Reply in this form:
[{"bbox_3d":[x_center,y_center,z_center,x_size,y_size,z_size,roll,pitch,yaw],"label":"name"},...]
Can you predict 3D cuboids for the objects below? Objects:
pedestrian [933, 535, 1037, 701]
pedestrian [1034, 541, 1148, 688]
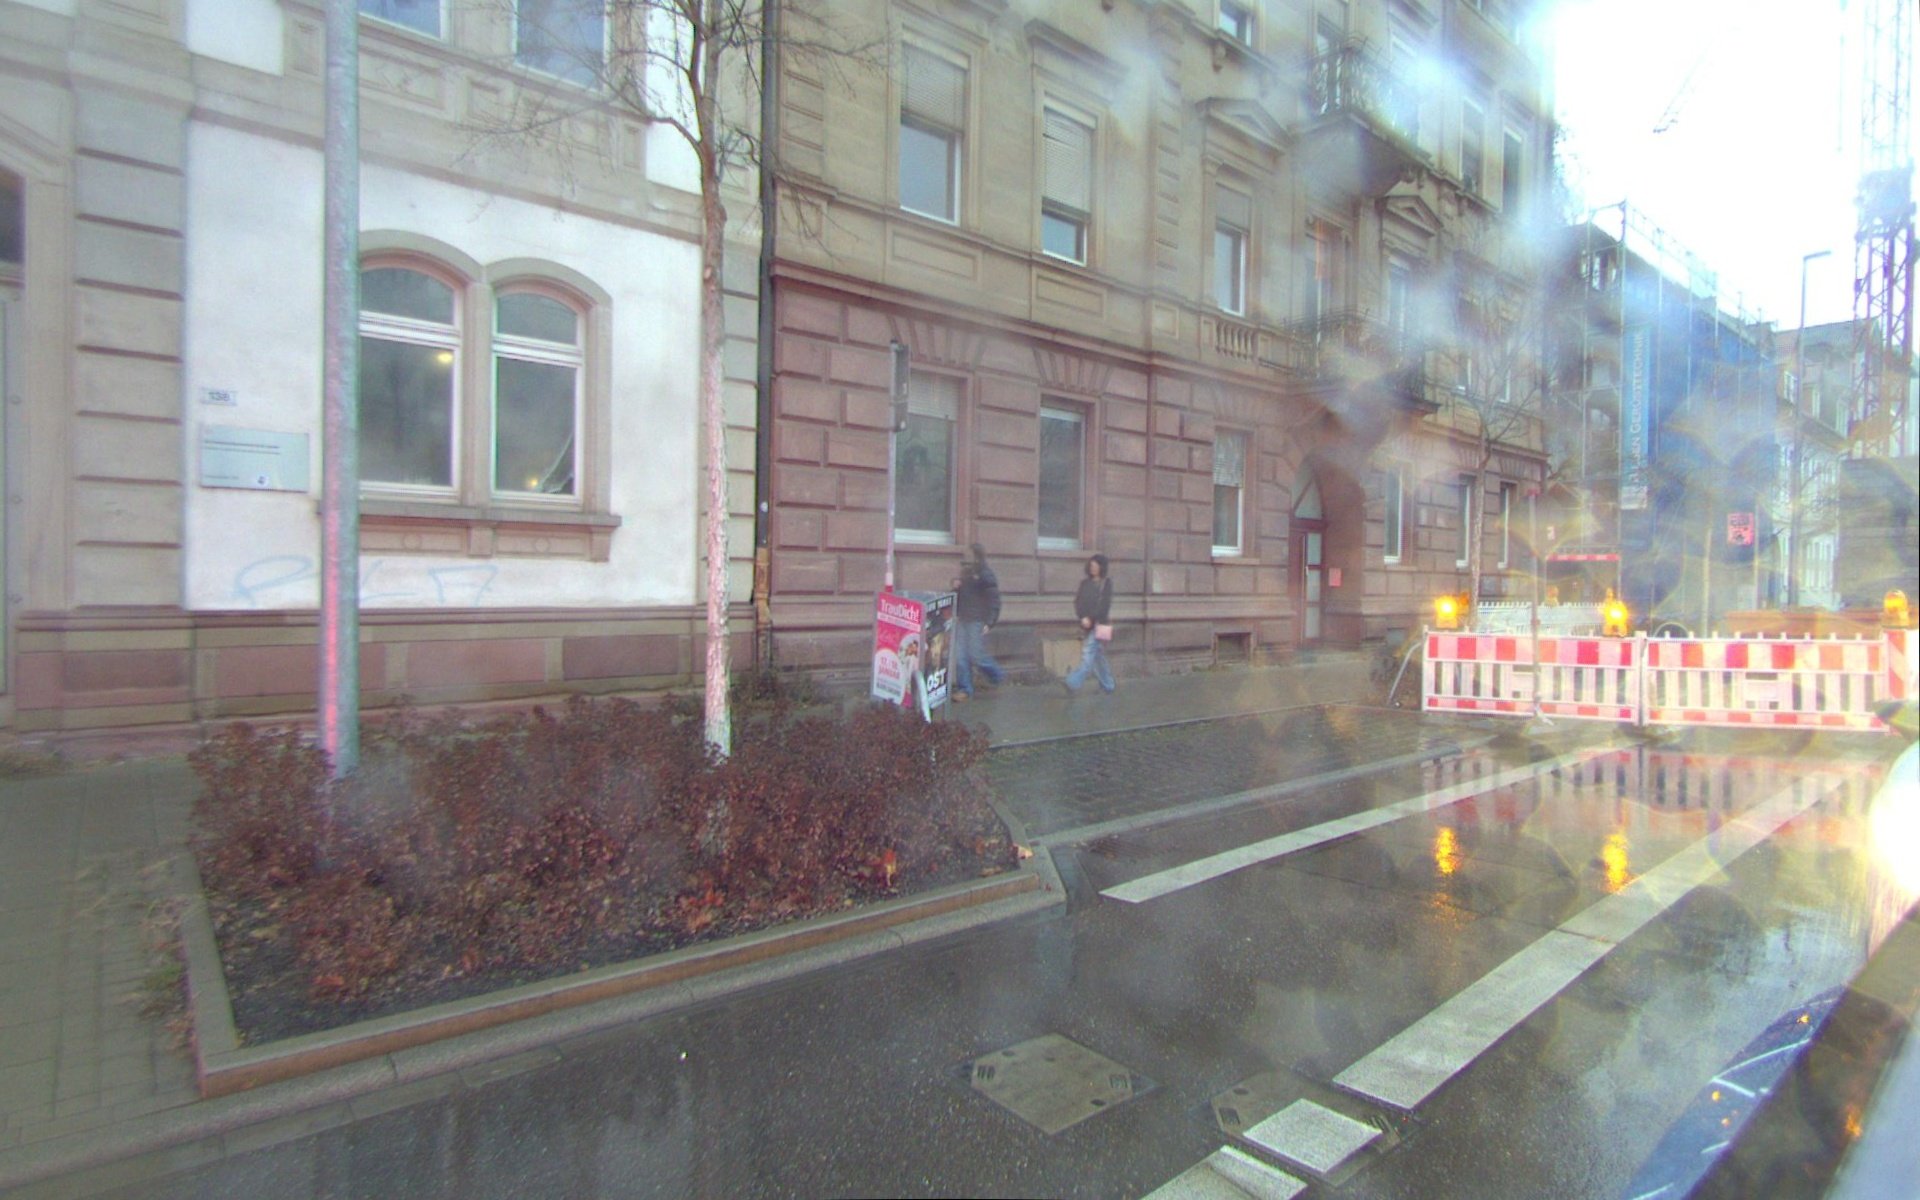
[{"bbox_3d":[0.257,0.165,10.849,0.694,1.693,0.870,0,1,-38],"label":"pedestrian"},{"bbox_3d":[1.474,0.141,11.401,0.913,1.564,0.870,0,2,-40],"label":"pedestrian"}]
